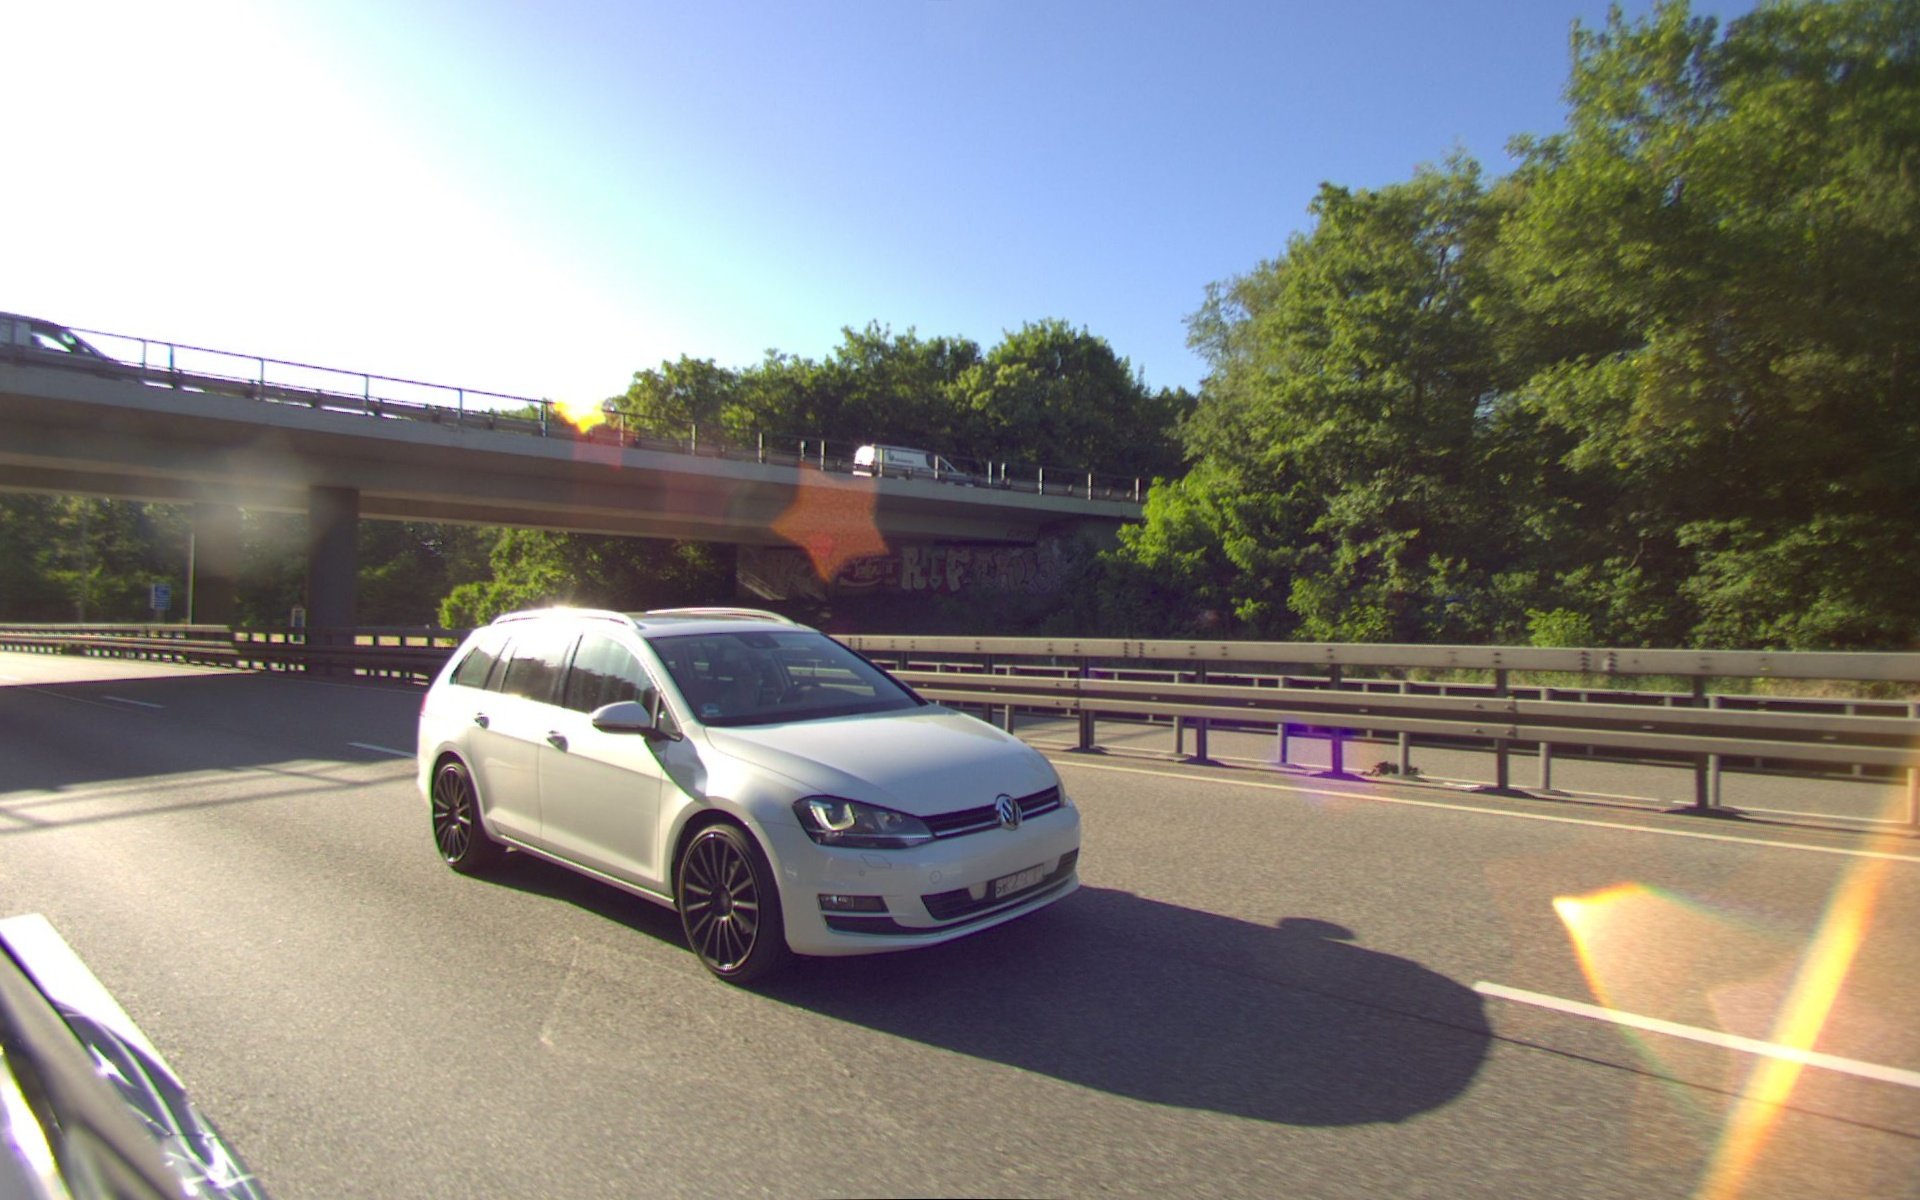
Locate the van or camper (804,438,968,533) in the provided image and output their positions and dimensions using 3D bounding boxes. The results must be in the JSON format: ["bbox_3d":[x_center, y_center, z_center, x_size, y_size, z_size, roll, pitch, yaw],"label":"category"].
[{"bbox_3d":[-2.704,-4.123,37.386,5.549,3.000,2.182,1,2,-30],"label":"van or camper"}]

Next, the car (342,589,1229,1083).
[{"bbox_3d":[-1.502,0.777,5.721,5.598,1.519,1.909,-1,-1,42],"label":"car"}]
